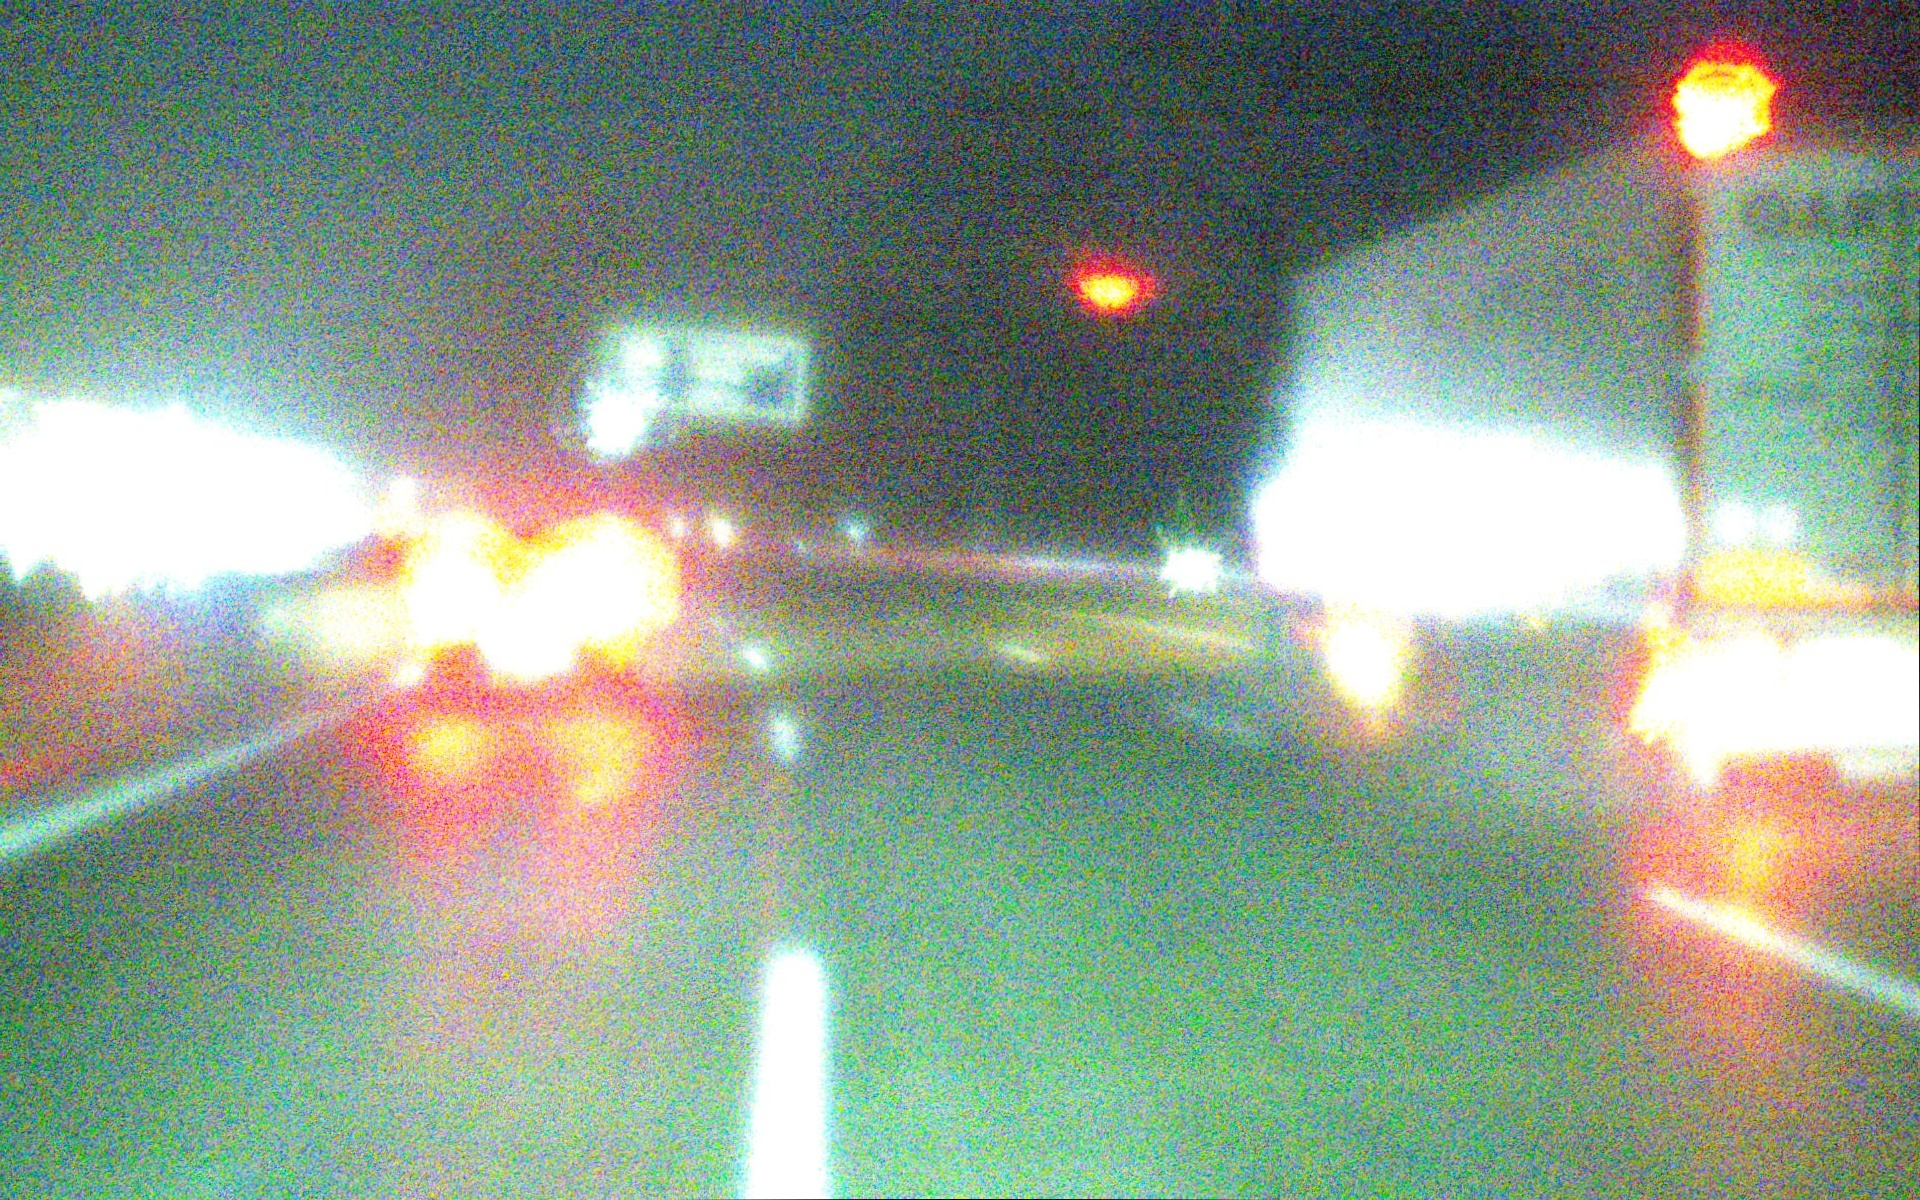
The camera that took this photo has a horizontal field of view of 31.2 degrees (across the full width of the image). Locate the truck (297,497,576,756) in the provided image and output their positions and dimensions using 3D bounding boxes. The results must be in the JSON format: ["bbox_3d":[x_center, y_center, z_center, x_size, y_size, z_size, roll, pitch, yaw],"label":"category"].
[{"bbox_3d":[-4.962,0.138,33.454,2.144,2.070,6.605,5,2,-5],"label":"truck"}]

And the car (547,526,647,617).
[{"bbox_3d":[-9.141,-0.745,86.879,1.993,2.006,4.001,5,2,-1],"label":"car"}]

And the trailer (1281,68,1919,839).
[{"bbox_3d":[4.905,-0.941,25.690,2.739,4.233,13.374,-1,1,-4],"label":"trailer"}]

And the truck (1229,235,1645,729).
[{"bbox_3d":[4.350,-1.060,32.489,2.710,4.227,5.294,1,1,-5],"label":"truck"}]
